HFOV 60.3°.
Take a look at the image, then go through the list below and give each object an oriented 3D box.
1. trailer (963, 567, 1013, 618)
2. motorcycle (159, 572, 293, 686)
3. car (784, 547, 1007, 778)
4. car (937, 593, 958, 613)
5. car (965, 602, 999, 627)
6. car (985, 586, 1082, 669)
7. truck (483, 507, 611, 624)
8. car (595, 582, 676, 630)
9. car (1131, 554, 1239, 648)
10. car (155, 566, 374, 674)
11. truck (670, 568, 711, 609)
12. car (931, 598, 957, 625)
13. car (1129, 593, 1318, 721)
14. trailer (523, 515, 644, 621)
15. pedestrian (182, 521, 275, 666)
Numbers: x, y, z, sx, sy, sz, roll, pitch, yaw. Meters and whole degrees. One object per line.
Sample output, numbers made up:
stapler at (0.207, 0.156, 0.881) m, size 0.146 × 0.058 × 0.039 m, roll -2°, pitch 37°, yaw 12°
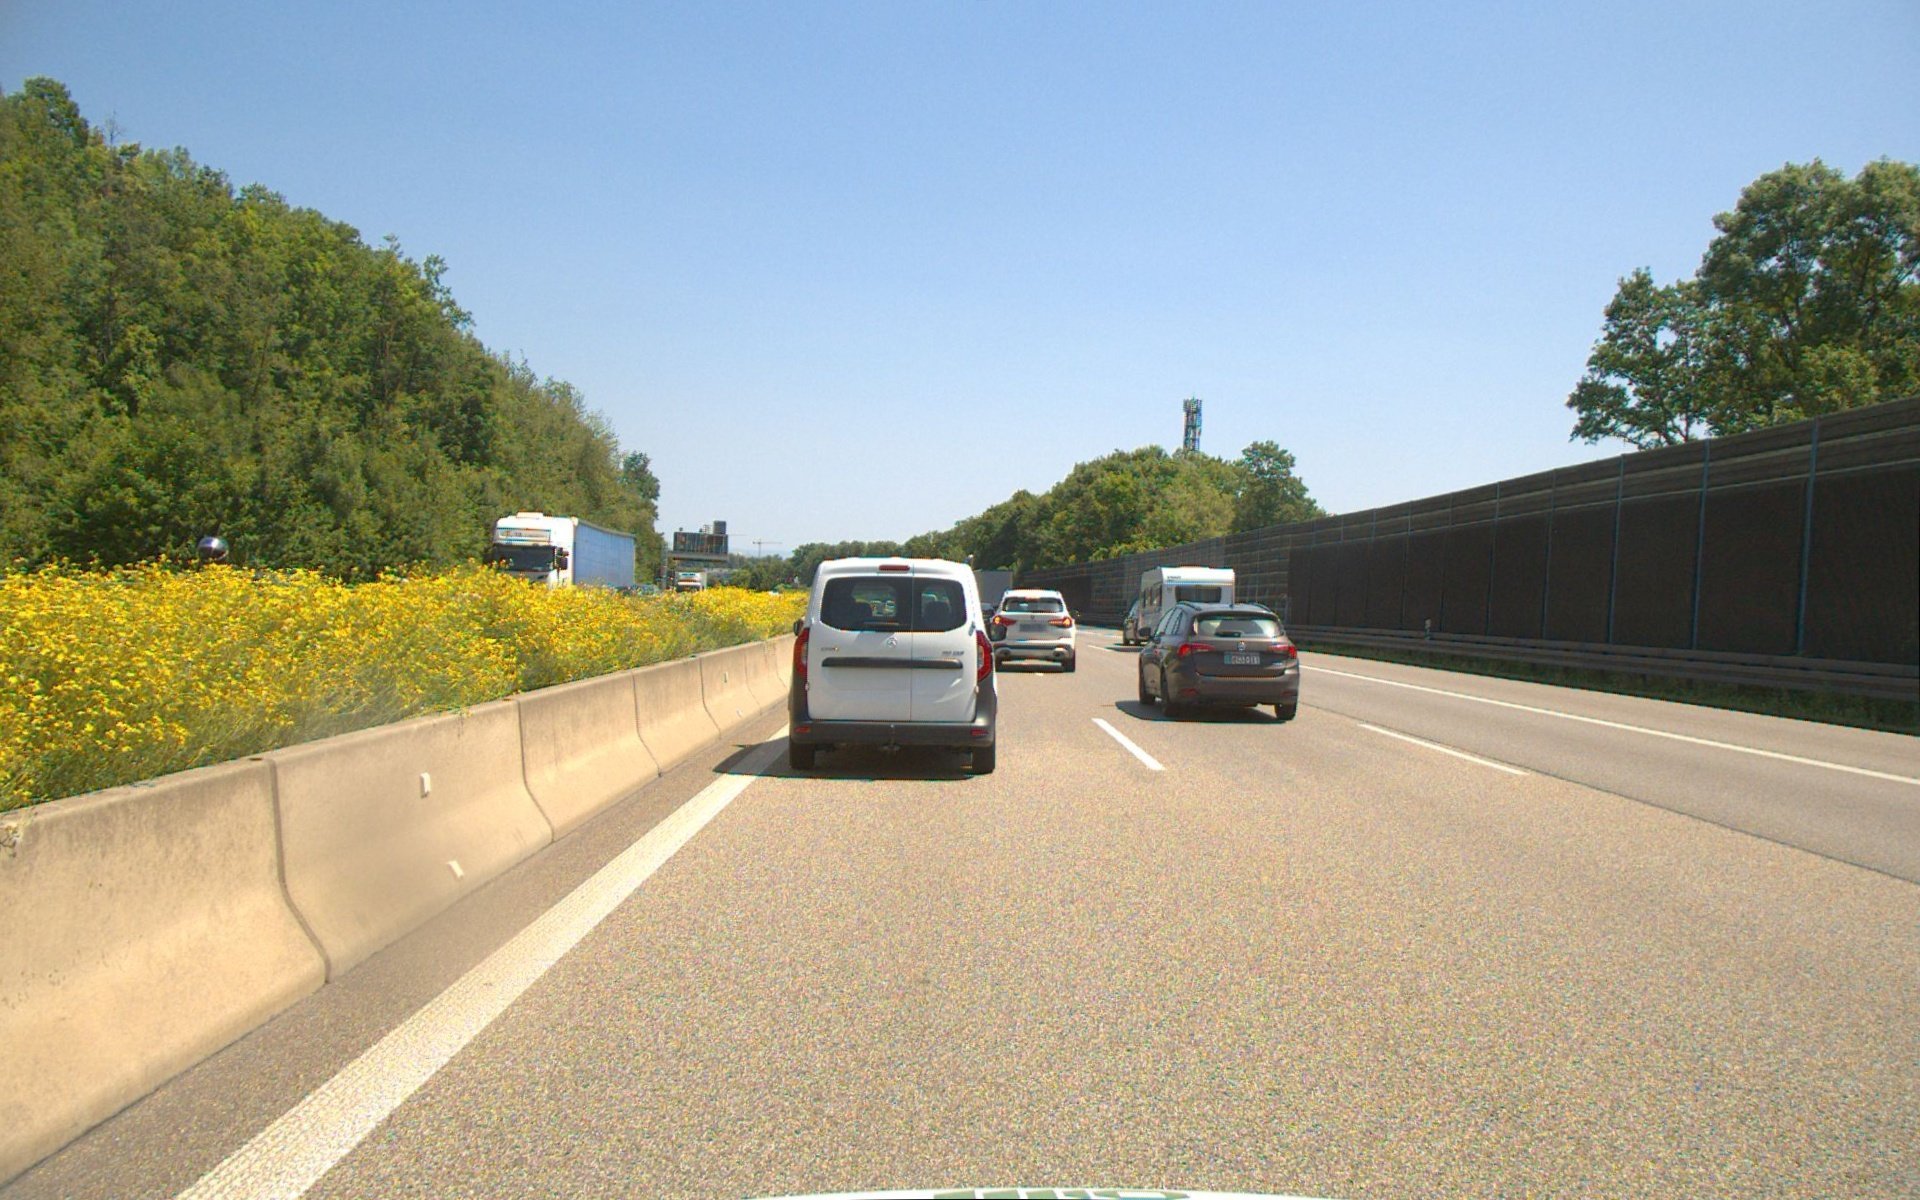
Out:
trailer at (2.278, -0.599, 138.272) m, size 3.022 × 4.055 × 10.311 m, roll 1°, pitch 0°, yaw -5°
motorcycle at (-7.242, 0.269, 16.386) m, size 0.653 × 1.059 × 1.475 m, roll 1°, pitch 0°, yaw -1°
car at (-0.550, 0.510, 15.362) m, size 1.766 × 1.840 × 3.999 m, roll 1°, pitch 0°, yaw -1°
car at (-1.373, 0.339, 180.054) m, size 1.955 × 2.049 × 3.996 m, roll 1°, pitch 0°, yaw -5°
car at (1.311, 0.860, 99.599) m, size 1.787 × 1.449 × 3.998 m, roll 1°, pitch 0°, yaw -2°
car at (1.527, 0.557, 35.643) m, size 1.833 × 1.636 × 3.878 m, roll 2°, pitch 0°, yaw -1°
truck at (-15.039, -1.196, 60.880) m, size 2.692 × 3.924 × 8.411 m, roll 1°, pitch 0°, yaw -1°
car at (-11.380, 0.203, 58.289) m, size 1.953 × 1.589 × 4.638 m, roll 2°, pitch 0°, yaw -1°
car at (7.140, 0.051, 53.279) m, size 2.429 × 2.814 × 6.217 m, roll 1°, pitch 0°, yaw -2°
car at (-10.743, 0.277, 25.871) m, size 1.768 × 1.515 × 3.999 m, roll 1°, pitch 0°, yaw -1°
truck at (-24.559, -1.019, 151.076) m, size 2.680 × 3.535 × 7.311 m, roll 1°, pitch 0°, yaw -2°
car at (-1.272, 0.911, 131.959) m, size 1.788 × 2.024 × 3.996 m, roll 1°, pitch 0°, yaw -5°
car at (3.496, 0.704, 22.757) m, size 1.801 × 1.539 × 4.401 m, roll 2°, pitch 0°, yaw -1°
trailer at (-15.162, -1.211, 67.429) m, size 2.724 × 3.924 × 10.168 m, roll 1°, pitch 0°, yaw -1°
pedestrian at (-7.228, -0.063, 16.356) m, size 0.648 × 1.389 × 0.531 m, roll 1°, pitch 0°, yaw -1°
